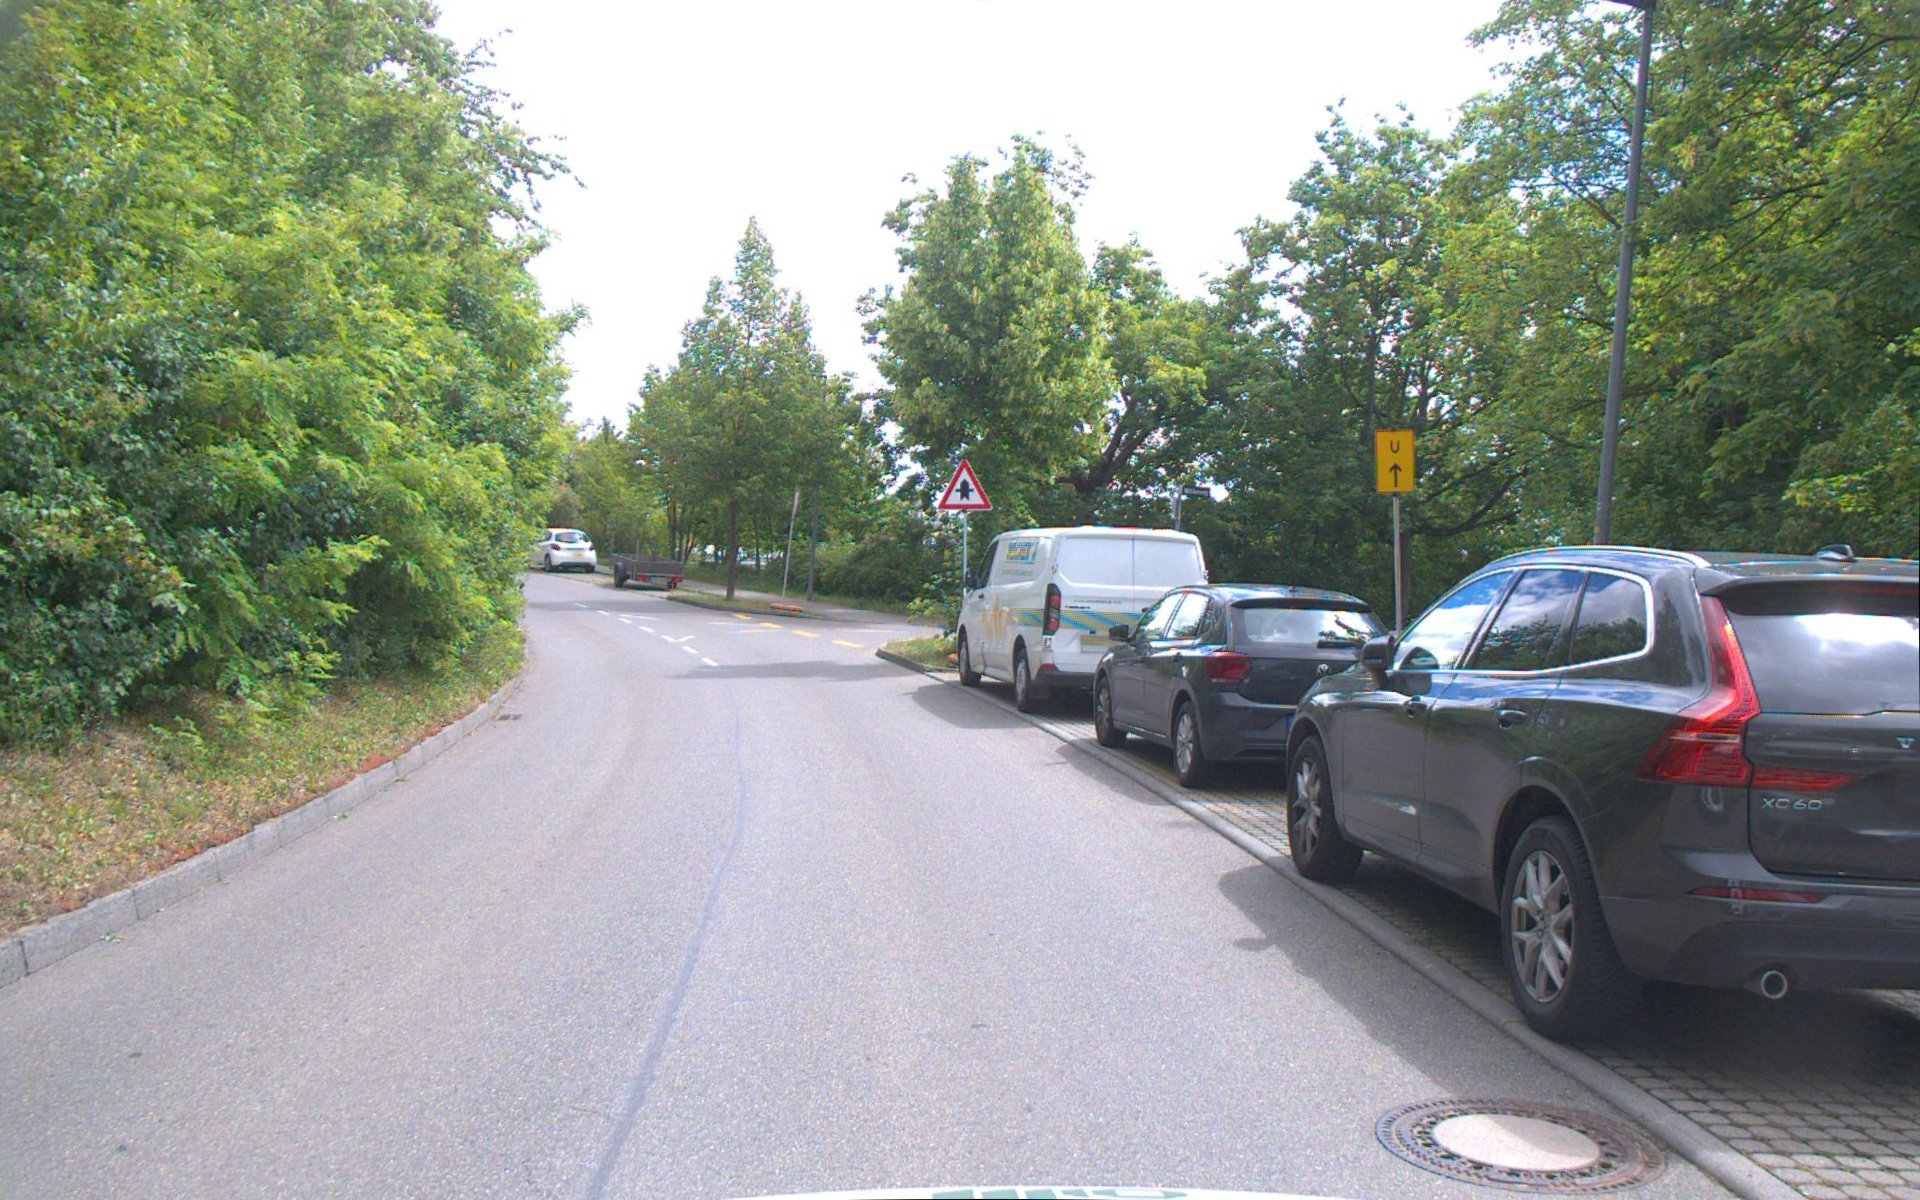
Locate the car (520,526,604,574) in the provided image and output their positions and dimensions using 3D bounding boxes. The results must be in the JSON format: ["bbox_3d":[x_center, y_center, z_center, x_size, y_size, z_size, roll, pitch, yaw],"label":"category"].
[{"bbox_3d":[-14.184,-1.795,58.790,1.751,1.435,3.959,1,4,-31],"label":"car"}]

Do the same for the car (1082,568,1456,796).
[{"bbox_3d":[2.284,0.546,13.350,1.764,1.489,3.994,3,0,-8],"label":"car"}]

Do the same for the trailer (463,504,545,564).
[{"bbox_3d":[-17.683,-2.587,64.061,1.727,2.147,3.949,0,4,-37],"label":"trailer"}]

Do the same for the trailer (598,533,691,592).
[{"bbox_3d":[-9.739,-1.185,50.793,1.763,1.552,3.967,1,4,-27],"label":"trailer"}]

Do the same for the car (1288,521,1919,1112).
[{"bbox_3d":[2.878,0.570,6.821,1.954,1.654,4.275,1,1,-4],"label":"car"}]

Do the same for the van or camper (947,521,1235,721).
[{"bbox_3d":[1.315,0.146,19.212,1.958,1.953,5.252,2,1,-11],"label":"van or camper"}]
